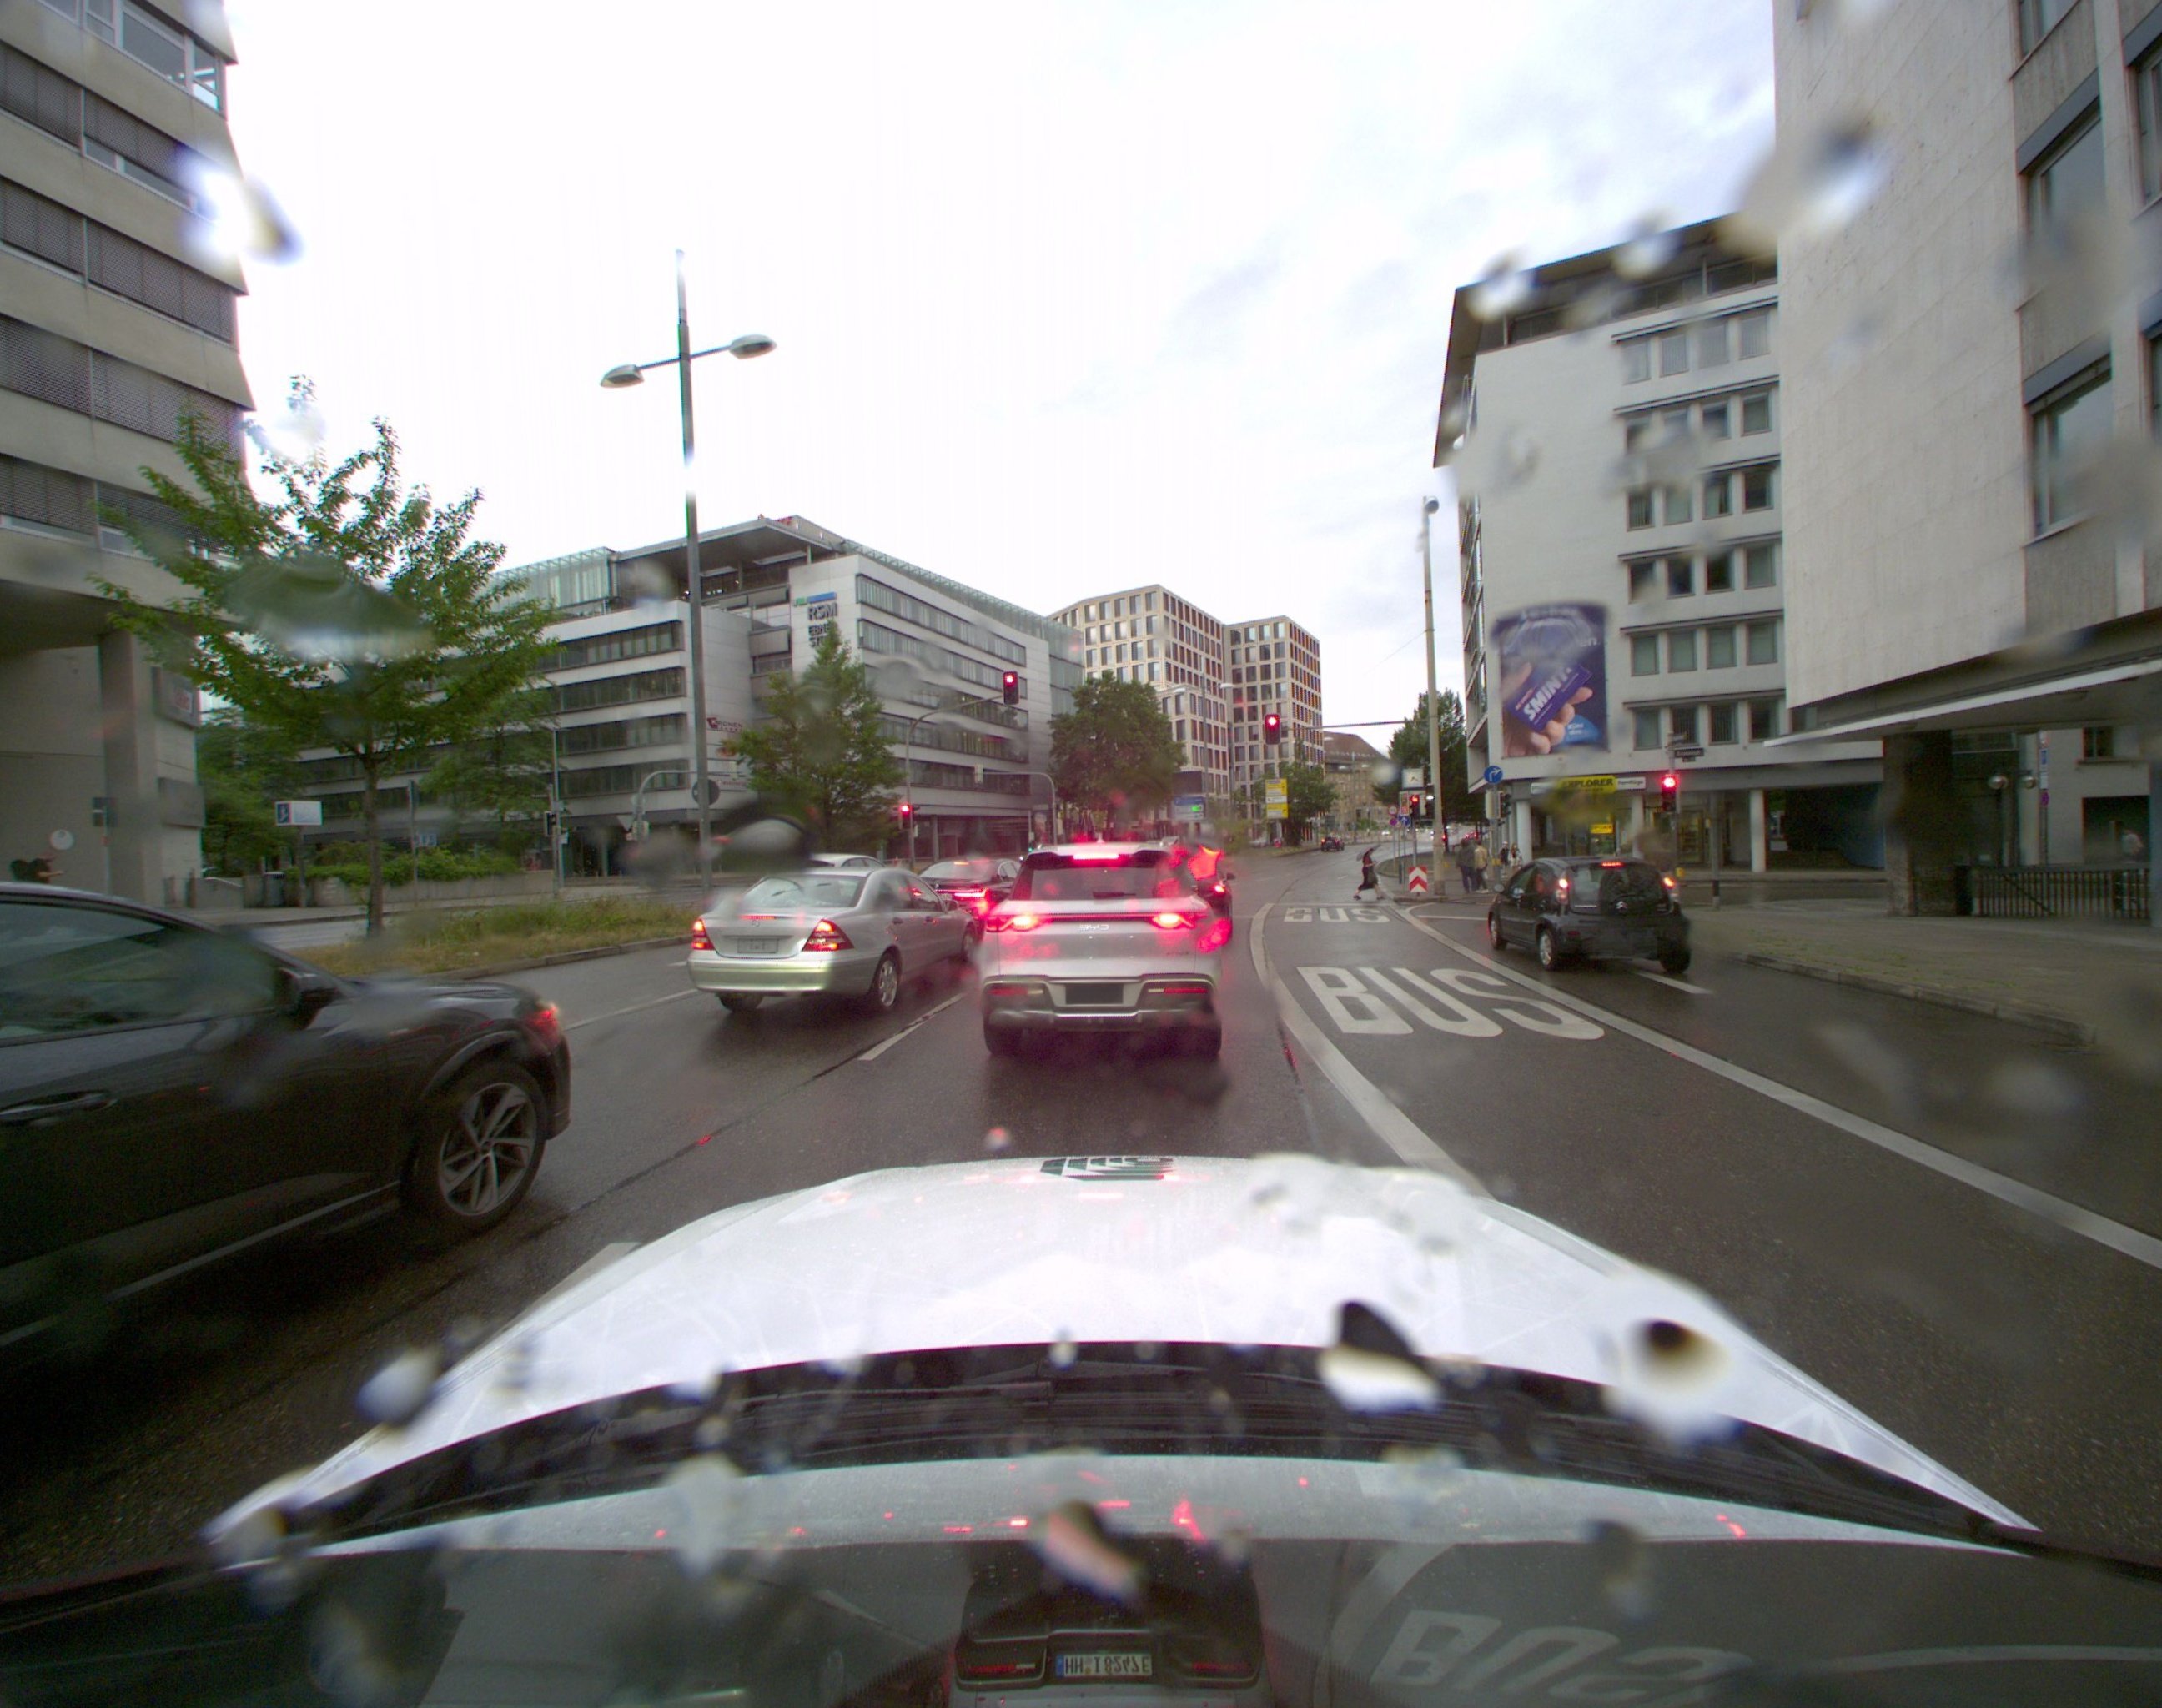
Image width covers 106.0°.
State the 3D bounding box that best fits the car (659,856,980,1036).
[{"bbox_3d":[-2.532,0.807,9.104,1.672,1.486,4.207,-1,0,9],"label":"car"}]

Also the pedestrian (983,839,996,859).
[{"bbox_3d":[-8.000,-0.422,71.579,0.721,1.727,0.930,-1,0,23],"label":"pedestrian"}]

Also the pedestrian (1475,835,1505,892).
[{"bbox_3d":[13.120,0.289,26.150,0.721,1.798,0.742,-1,0,17],"label":"pedestrian"}]

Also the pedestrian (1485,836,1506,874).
[{"bbox_3d":[18.793,0.042,36.941,0.721,1.668,0.694,-1,-1,17],"label":"pedestrian"}]

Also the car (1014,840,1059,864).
[{"bbox_3d":[-3.432,-0.167,63.446,1.976,1.705,4.022,-1,2,21],"label":"car"}]

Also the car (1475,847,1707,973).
[{"bbox_3d":[6.897,0.657,11.440,1.651,1.473,3.495,-1,0,12],"label":"car"}]

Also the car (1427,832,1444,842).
[{"bbox_3d":[55.429,-2.695,127.304,1.892,1.510,4.384,0,1,30],"label":"car"}]

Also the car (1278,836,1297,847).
[{"bbox_3d":[34.926,-2.200,137.707,1.975,1.705,4.336,-1,2,29],"label":"car"}]

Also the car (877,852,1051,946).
[{"bbox_3d":[-2.048,0.755,15.550,1.941,1.530,4.014,-1,0,13],"label":"car"}]

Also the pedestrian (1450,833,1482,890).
[{"bbox_3d":[12.389,0.251,26.222,0.806,1.798,0.714,-1,0,17],"label":"pedestrian"}]

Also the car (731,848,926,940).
[{"bbox_3d":[-4.834,0.695,16.252,1.871,1.596,4.015,-1,0,14],"label":"car"}]

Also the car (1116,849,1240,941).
[{"bbox_3d":[2.031,0.701,15.951,1.941,1.530,4.014,-1,0,13],"label":"car"}]

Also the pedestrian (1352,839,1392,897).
[{"bbox_3d":[8.939,0.418,25.062,0.920,1.738,0.729,-1,0,-3],"label":"pedestrian"}]

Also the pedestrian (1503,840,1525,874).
[{"bbox_3d":[19.505,0.132,36.664,0.721,1.524,0.763,-1,-1,17],"label":"pedestrian"}]

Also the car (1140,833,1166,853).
[{"bbox_3d":[7.990,-1.209,90.431,1.723,2.161,4.516,0,0,20],"label":"car"}]

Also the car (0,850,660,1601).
[{"bbox_3d":[-3.057,0.735,1.925,1.931,1.435,4.285,-2,0,-1],"label":"car"}]

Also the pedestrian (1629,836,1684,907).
[{"bbox_3d":[14.714,0.444,20.818,0.800,1.755,1.005,0,-1,-44],"label":"pedestrian"}]

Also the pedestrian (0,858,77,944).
[{"bbox_3d":[-23.202,1.020,18.083,0.721,1.832,0.929,-1,0,17],"label":"pedestrian"}]

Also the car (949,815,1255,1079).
[{"bbox_3d":[0.301,0.607,7.695,1.984,1.709,4.488,-2,0,4],"label":"car"}]

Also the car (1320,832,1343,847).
[{"bbox_3d":[25.542,-1.460,83.021,1.977,1.552,4.021,0,1,21],"label":"car"}]

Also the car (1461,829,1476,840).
[{"bbox_3d":[65.535,-3.295,137.668,2.027,1.765,4.384,0,1,30],"label":"car"}]

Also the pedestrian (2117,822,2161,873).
[{"bbox_3d":[38.326,-0.239,29.488,0.675,1.798,0.733,-2,-1,23],"label":"pedestrian"}]

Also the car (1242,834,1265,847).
[{"bbox_3d":[25.252,-2.002,119.153,1.975,1.705,4.336,-1,2,29],"label":"car"}]
